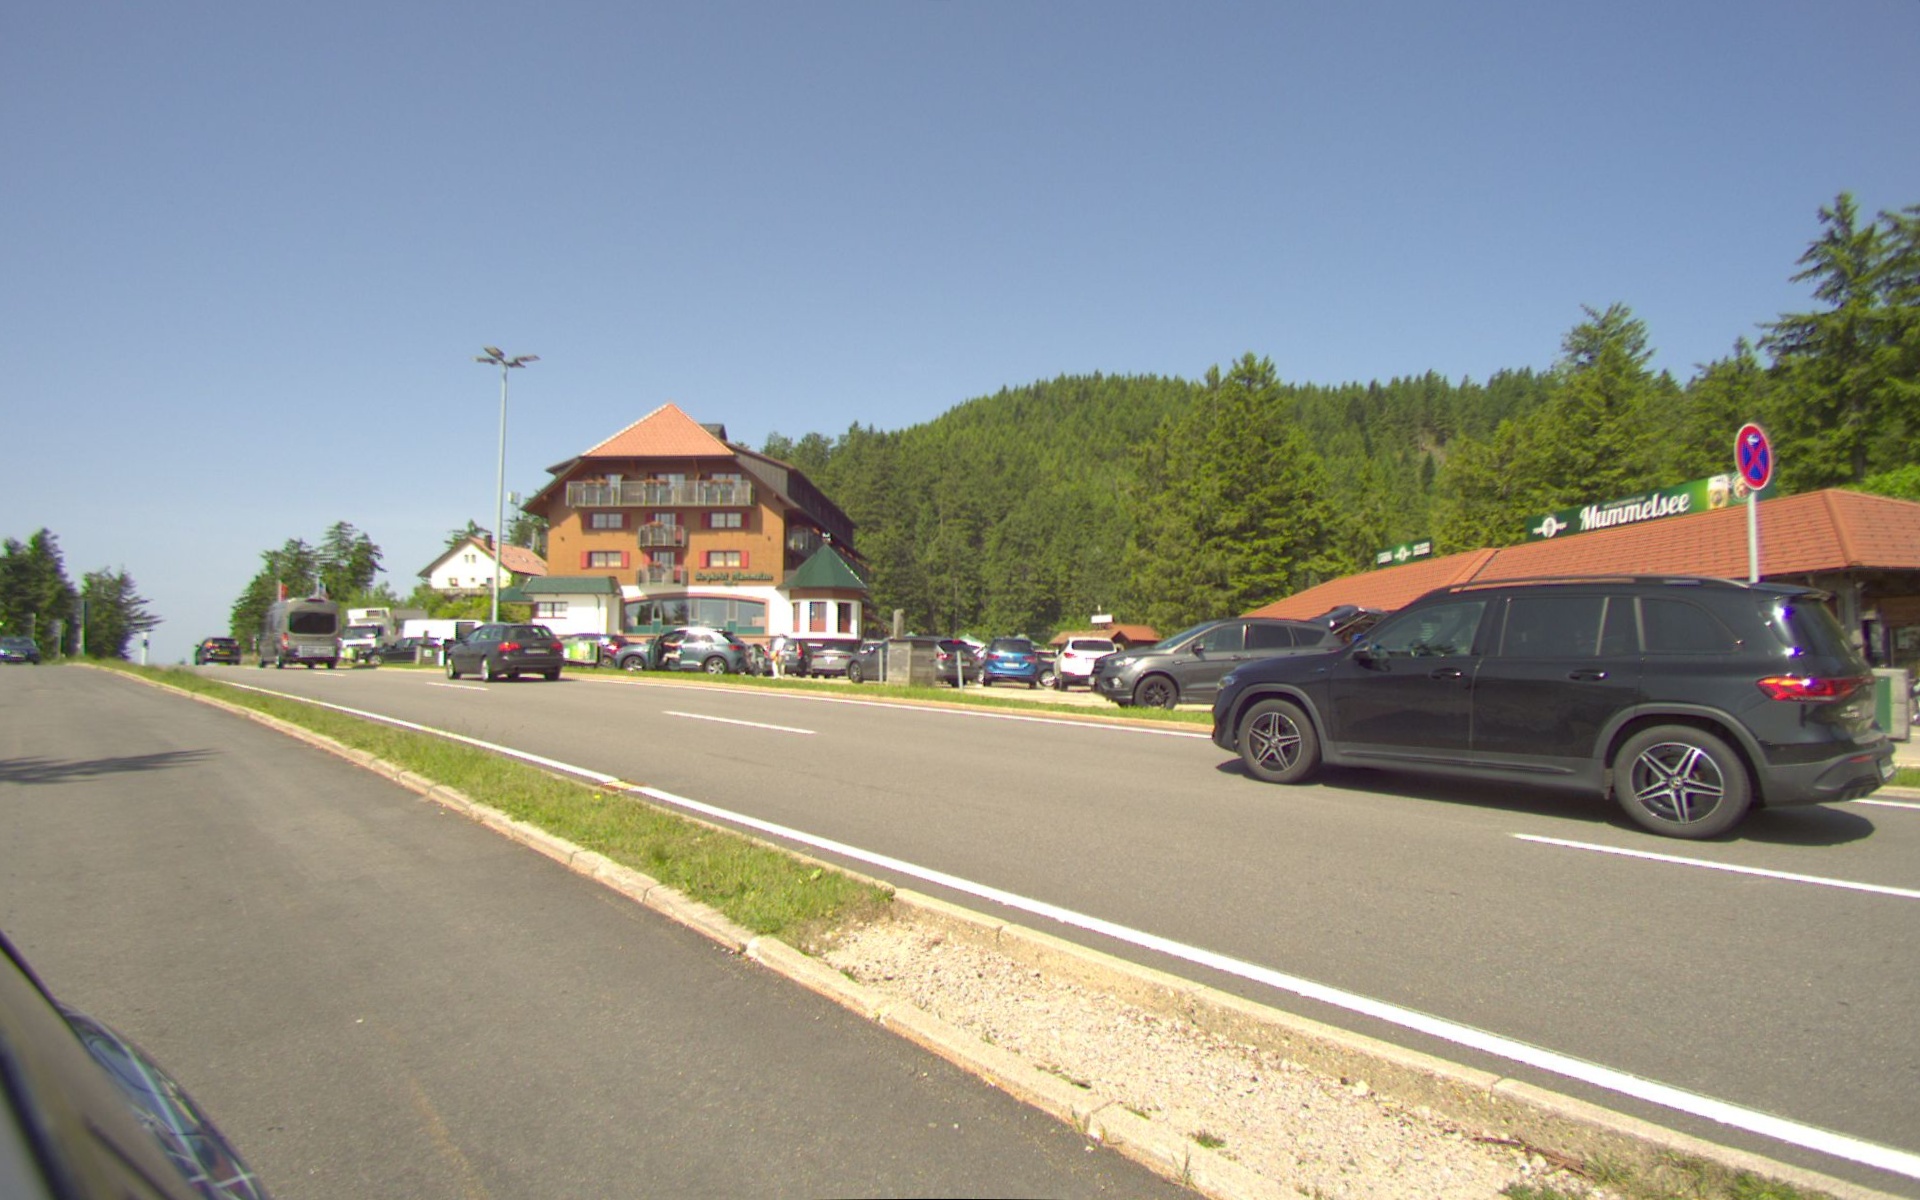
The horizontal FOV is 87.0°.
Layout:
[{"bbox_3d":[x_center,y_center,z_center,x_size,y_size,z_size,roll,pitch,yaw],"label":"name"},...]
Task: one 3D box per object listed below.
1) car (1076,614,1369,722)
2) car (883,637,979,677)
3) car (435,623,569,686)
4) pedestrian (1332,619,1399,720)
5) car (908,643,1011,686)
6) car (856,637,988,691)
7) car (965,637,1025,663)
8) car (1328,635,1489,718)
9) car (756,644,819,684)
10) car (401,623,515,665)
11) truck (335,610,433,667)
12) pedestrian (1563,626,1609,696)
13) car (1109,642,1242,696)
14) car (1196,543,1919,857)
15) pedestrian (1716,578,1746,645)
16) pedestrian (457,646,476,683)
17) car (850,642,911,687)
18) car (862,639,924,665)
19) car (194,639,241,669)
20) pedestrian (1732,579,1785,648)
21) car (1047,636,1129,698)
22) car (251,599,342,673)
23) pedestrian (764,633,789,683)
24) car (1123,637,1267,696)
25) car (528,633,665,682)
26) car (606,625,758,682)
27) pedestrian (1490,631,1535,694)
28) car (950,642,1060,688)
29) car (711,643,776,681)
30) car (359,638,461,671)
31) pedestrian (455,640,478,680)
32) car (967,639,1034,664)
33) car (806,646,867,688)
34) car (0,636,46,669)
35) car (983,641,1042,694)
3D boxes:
[{"bbox_3d":[4.366,1.141,17.259,4.486,1.669,1.723,1,-3,-2],"label":"car"},{"bbox_3d":[-1.269,2.458,43.927,4.036,1.641,1.824,1,-3,-1],"label":"car"},{"bbox_3d":[-11.597,1.330,25.480,1.686,1.449,4.453,3,-3,-43],"label":"car"},{"bbox_3d":[6.838,1.159,17.091,0.735,1.648,0.848,1,-3,-4],"label":"pedestrian"},{"bbox_3d":[-0.047,2.606,41.111,4.036,1.641,1.824,1,-3,-1],"label":"car"},{"bbox_3d":[-1.165,1.820,29.499,1.695,1.441,4.005,3,-4,-42],"label":"car"},{"bbox_3d":[2.376,3.453,69.721,4.038,1.729,1.920,1,-3,0],"label":"car"},{"bbox_3d":[10.355,1.728,23.728,1.893,1.729,4.094,1,-3,0],"label":"car"},{"bbox_3d":[-7.018,2.581,41.604,1.799,1.524,4.092,1,-3,1],"label":"car"},{"bbox_3d":[-34.654,3.064,70.059,6.844,2.812,2.675,2,-3,-25],"label":"car"},{"bbox_3d":[-41.543,2.813,73.390,2.839,3.850,9.029,-1,-2,-7],"label":"truck"},{"bbox_3d":[18.541,1.787,29.993,0.712,2.029,0.928,0,-2,-6],"label":"pedestrian"},{"bbox_3d":[7.258,2.319,34.402,4.034,1.729,1.921,1,-3,-3],"label":"car"},{"bbox_3d":[4.289,0.616,7.751,1.969,1.660,4.574,3,-3,-40],"label":"car"},{"bbox_3d":[20.622,0.314,27.070,0.555,1.750,0.663,-2,-3,44],"label":"pedestrian"},{"bbox_3d":[-25.328,3.320,51.948,0.663,1.878,0.753,3,-3,-37],"label":"pedestrian"},{"bbox_3d":[-2.849,2.333,37.032,1.799,1.524,4.092,1,-3,1],"label":"car"},{"bbox_3d":[-4.526,3.530,68.849,4.038,1.729,1.920,1,-3,0],"label":"car"},{"bbox_3d":[-44.159,3.190,60.169,1.696,1.695,4.134,3,-3,-44],"label":"car"},{"bbox_3d":[20.589,0.347,26.101,0.741,1.750,0.801,0,-2,9],"label":"pedestrian"},{"bbox_3d":[3.773,1.975,30.493,1.893,1.729,4.094,1,-3,-1],"label":"car"},{"bbox_3d":[-26.969,1.461,41.049,1.987,2.772,5.922,3,-3,-43],"label":"car"},{"bbox_3d":[-6.098,1.939,33.660,0.734,1.637,0.685,1,-3,-14],"label":"pedestrian"},{"bbox_3d":[7.322,2.073,31.812,4.037,1.729,1.920,1,-3,0],"label":"car"},{"bbox_3d":[-12.940,2.057,36.213,4.210,1.641,1.824,1,-3,-1],"label":"car"},{"bbox_3d":[-8.576,1.661,31.457,4.210,1.641,1.824,1,-3,-1],"label":"car"},{"bbox_3d":[17.970,2.029,32.955,0.843,2.029,0.966,0,-2,-6],"label":"pedestrian"},{"bbox_3d":[1.673,2.468,38.488,4.036,1.641,1.824,1,-3,-1],"label":"car"},{"bbox_3d":[-9.207,2.642,43.400,1.799,1.524,4.092,1,-3,1],"label":"car"},{"bbox_3d":[-27.437,2.706,50.605,4.032,1.539,1.826,1,-3,-5],"label":"car"},{"bbox_3d":[-25.301,3.062,51.881,0.801,2.029,0.709,-1,-3,35],"label":"pedestrian"},{"bbox_3d":[2.945,3.749,73.782,4.778,1.729,1.920,1,-3,0],"label":"car"},{"bbox_3d":[-4.809,2.589,39.868,1.799,1.524,4.092,1,-3,1],"label":"car"},{"bbox_3d":[-47.991,2.661,51.618,1.848,1.627,3.916,3,-3,-44],"label":"car"},{"bbox_3d":[1.693,2.215,33.767,1.799,1.641,4.092,1,-3,1],"label":"car"}]
